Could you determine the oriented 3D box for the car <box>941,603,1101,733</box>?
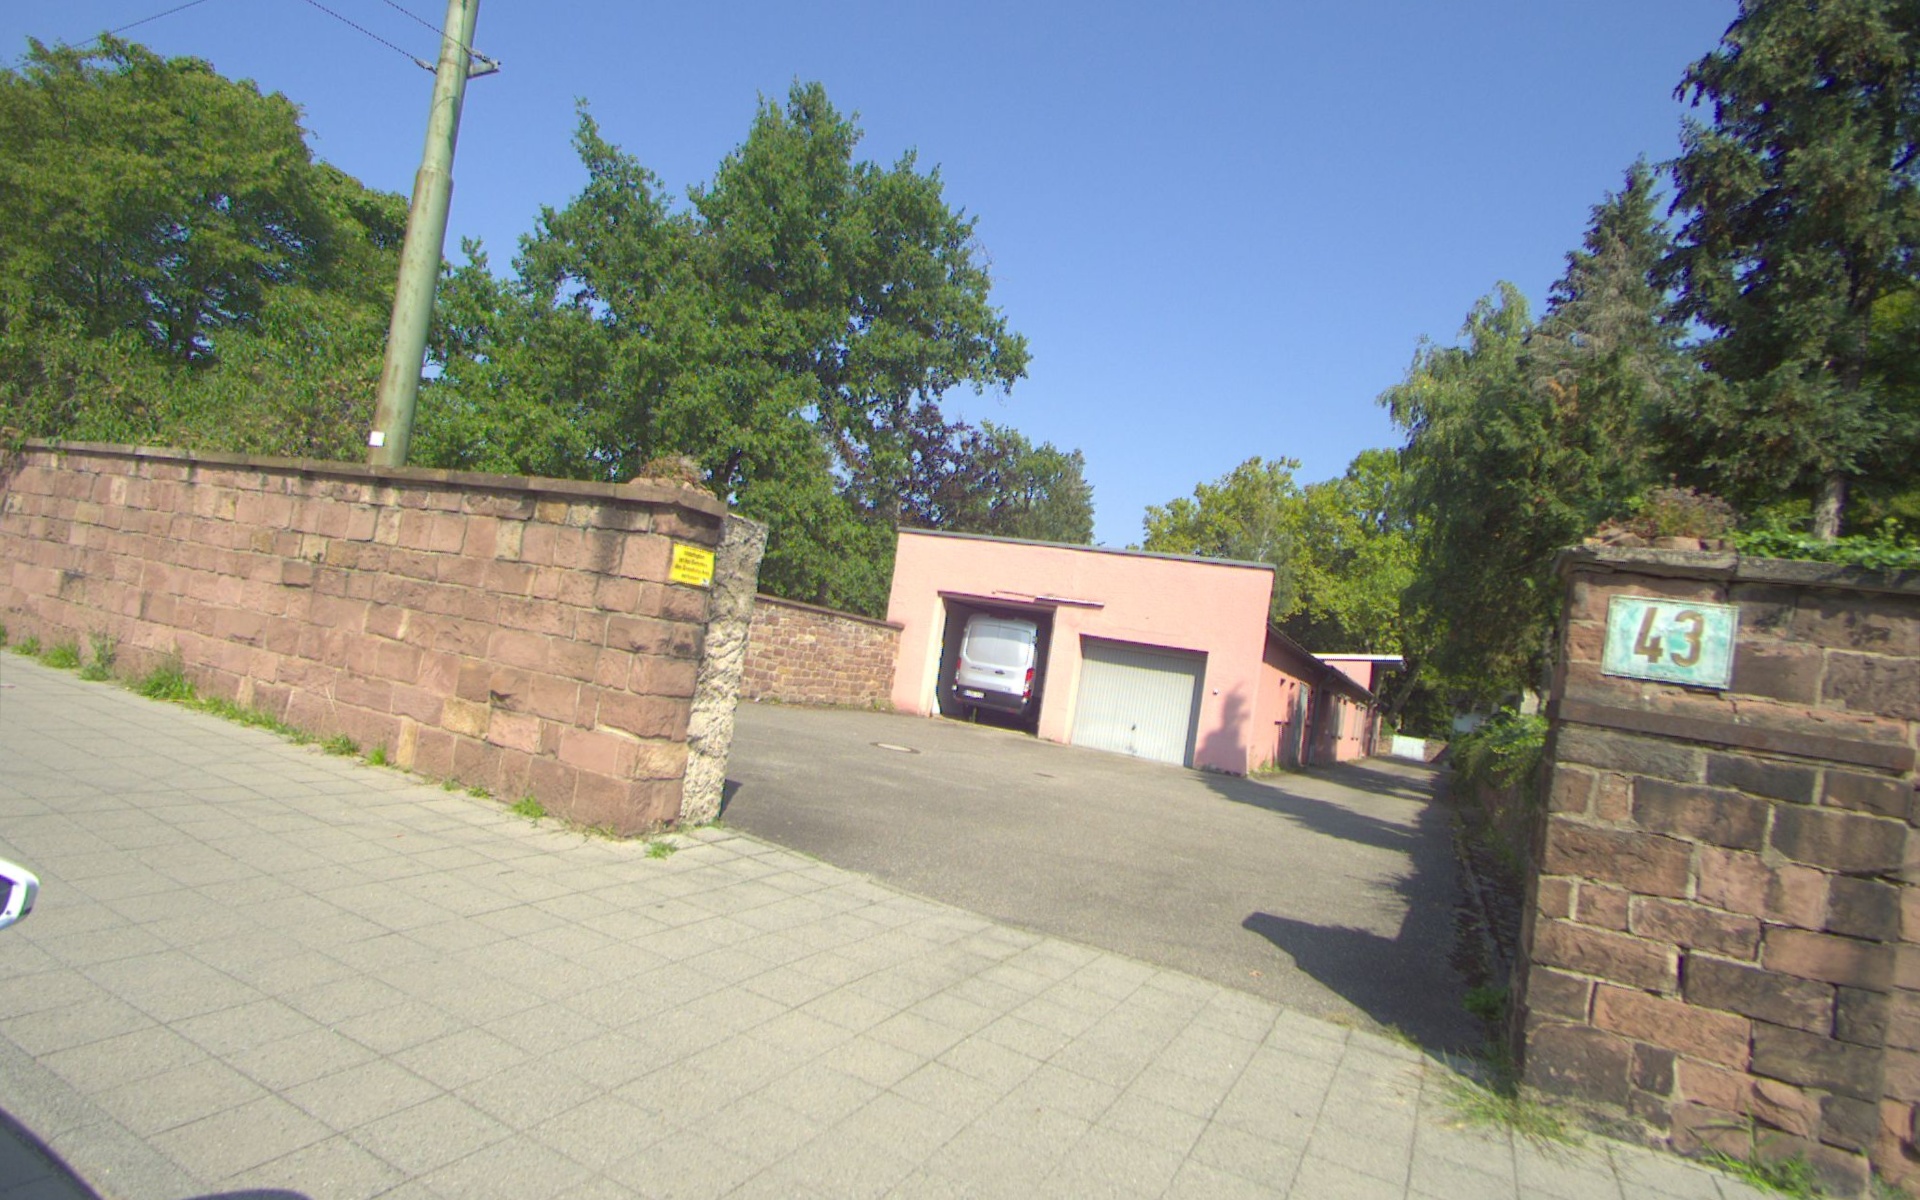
[{"bbox_3d":[1.559,1.706,24.064,2.030,2.558,4.002,7,-4,29],"label":"car"}]
